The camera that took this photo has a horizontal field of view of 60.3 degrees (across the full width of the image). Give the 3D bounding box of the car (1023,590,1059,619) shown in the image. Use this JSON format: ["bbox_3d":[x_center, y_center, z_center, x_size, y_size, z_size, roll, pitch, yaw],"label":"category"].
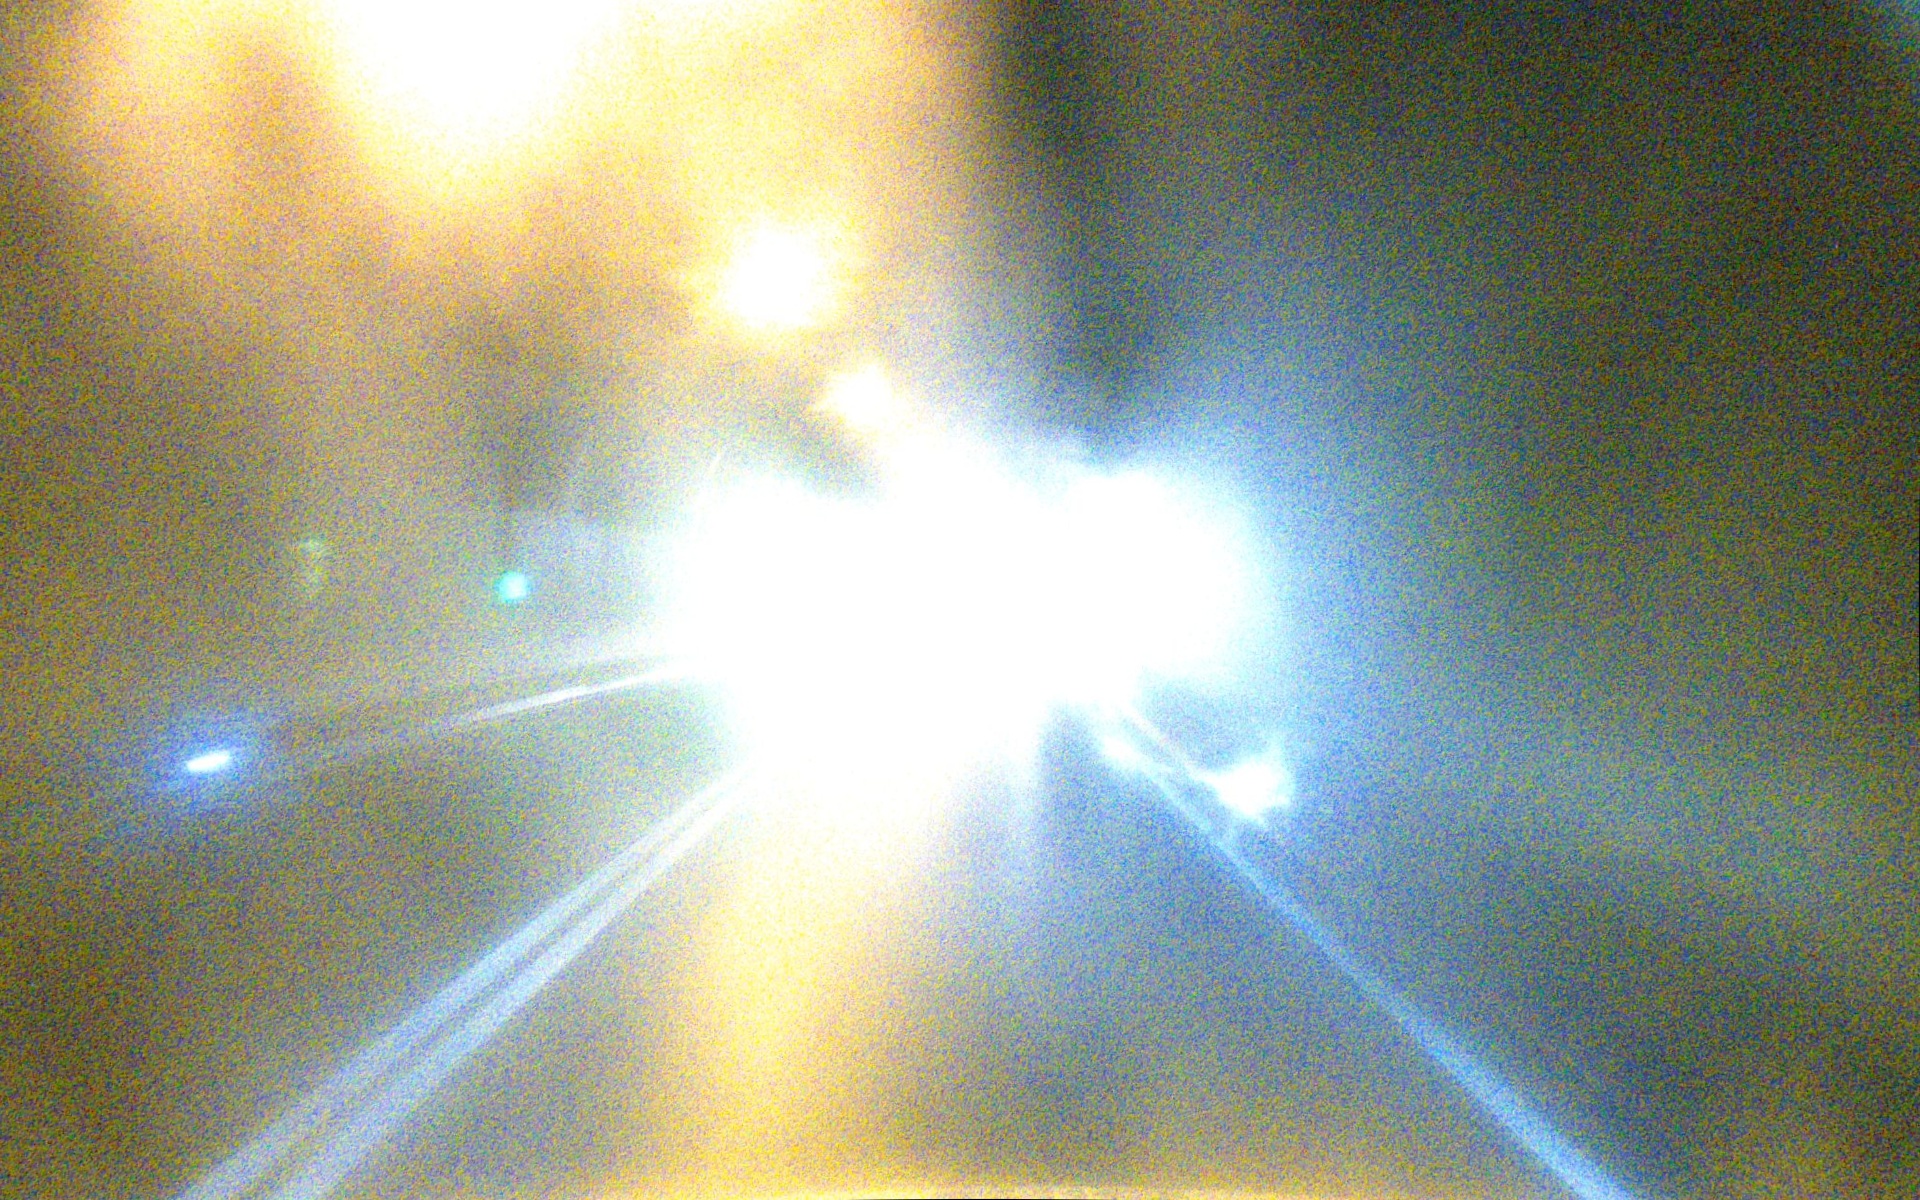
[{"bbox_3d":[4.908,0.260,99.535,1.951,1.679,4.003,1,0,6],"label":"car"}]

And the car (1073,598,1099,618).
[{"bbox_3d":[9.718,0.589,128.046,1.807,1.500,4.000,0,0,1],"label":"car"}]

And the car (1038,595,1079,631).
[{"bbox_3d":[4.839,0.621,80.795,1.951,1.679,4.002,1,0,4],"label":"car"}]
